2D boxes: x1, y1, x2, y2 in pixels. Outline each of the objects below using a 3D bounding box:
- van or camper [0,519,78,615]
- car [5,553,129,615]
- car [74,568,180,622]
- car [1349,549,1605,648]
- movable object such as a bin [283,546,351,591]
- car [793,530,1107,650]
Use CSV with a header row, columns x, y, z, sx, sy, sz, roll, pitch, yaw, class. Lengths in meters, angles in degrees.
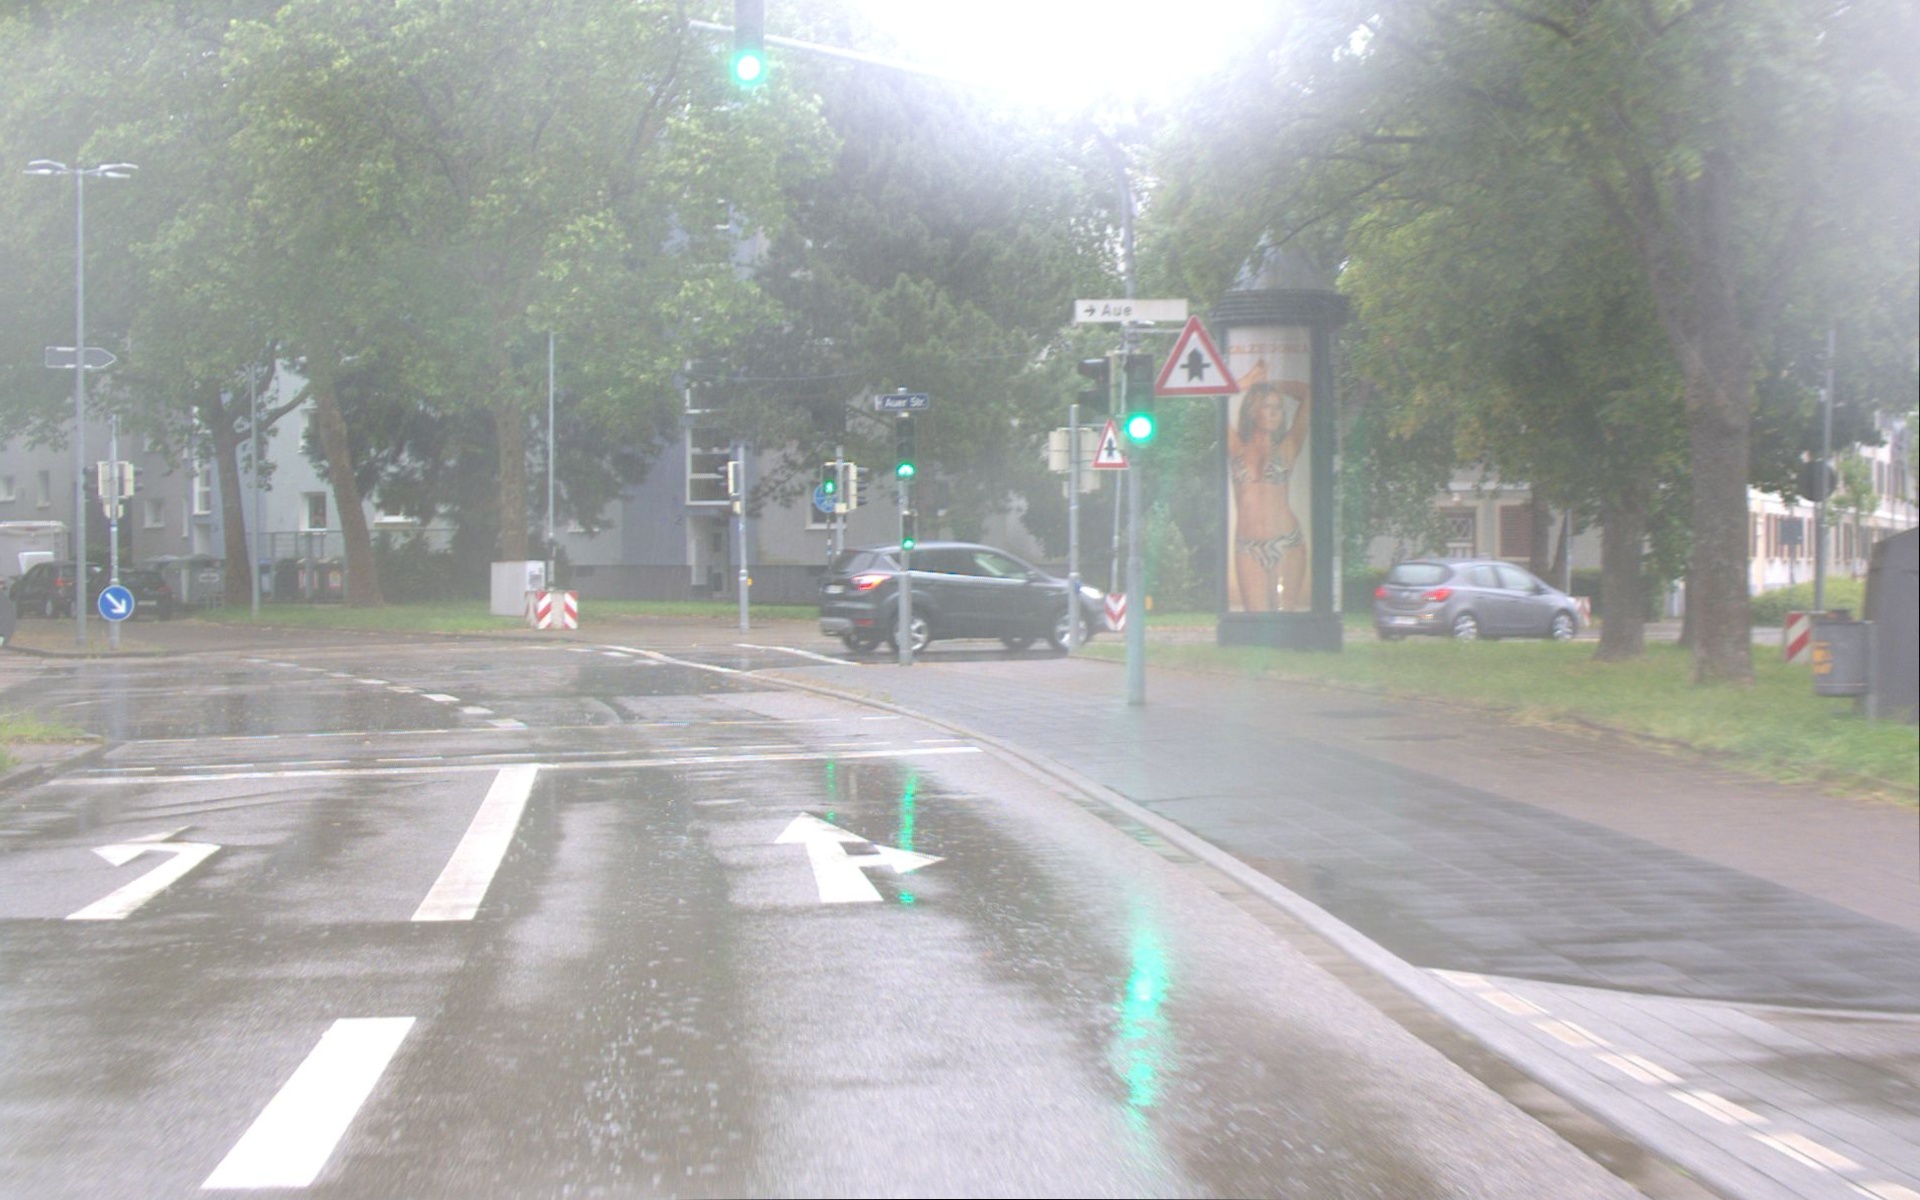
x,y,z,sx,sy,sz,roll,pitch,yaw,class
-28.833,-0.984,103.690,2.319,2.798,6.863,0,0,-32,van or camper
-24.976,-0.417,96.064,1.916,1.615,4.453,0,-1,-35,car
-22.377,-0.143,92.290,1.548,1.385,4.149,1,0,-32,car
8.601,-0.023,57.082,4.076,1.597,1.999,0,0,-40,car
-20.622,-1.011,110.230,1.861,1.428,1.214,1,0,38,movable object such as a bin
-0.142,-0.135,51.784,4.290,1.738,2.000,0,0,-29,car
